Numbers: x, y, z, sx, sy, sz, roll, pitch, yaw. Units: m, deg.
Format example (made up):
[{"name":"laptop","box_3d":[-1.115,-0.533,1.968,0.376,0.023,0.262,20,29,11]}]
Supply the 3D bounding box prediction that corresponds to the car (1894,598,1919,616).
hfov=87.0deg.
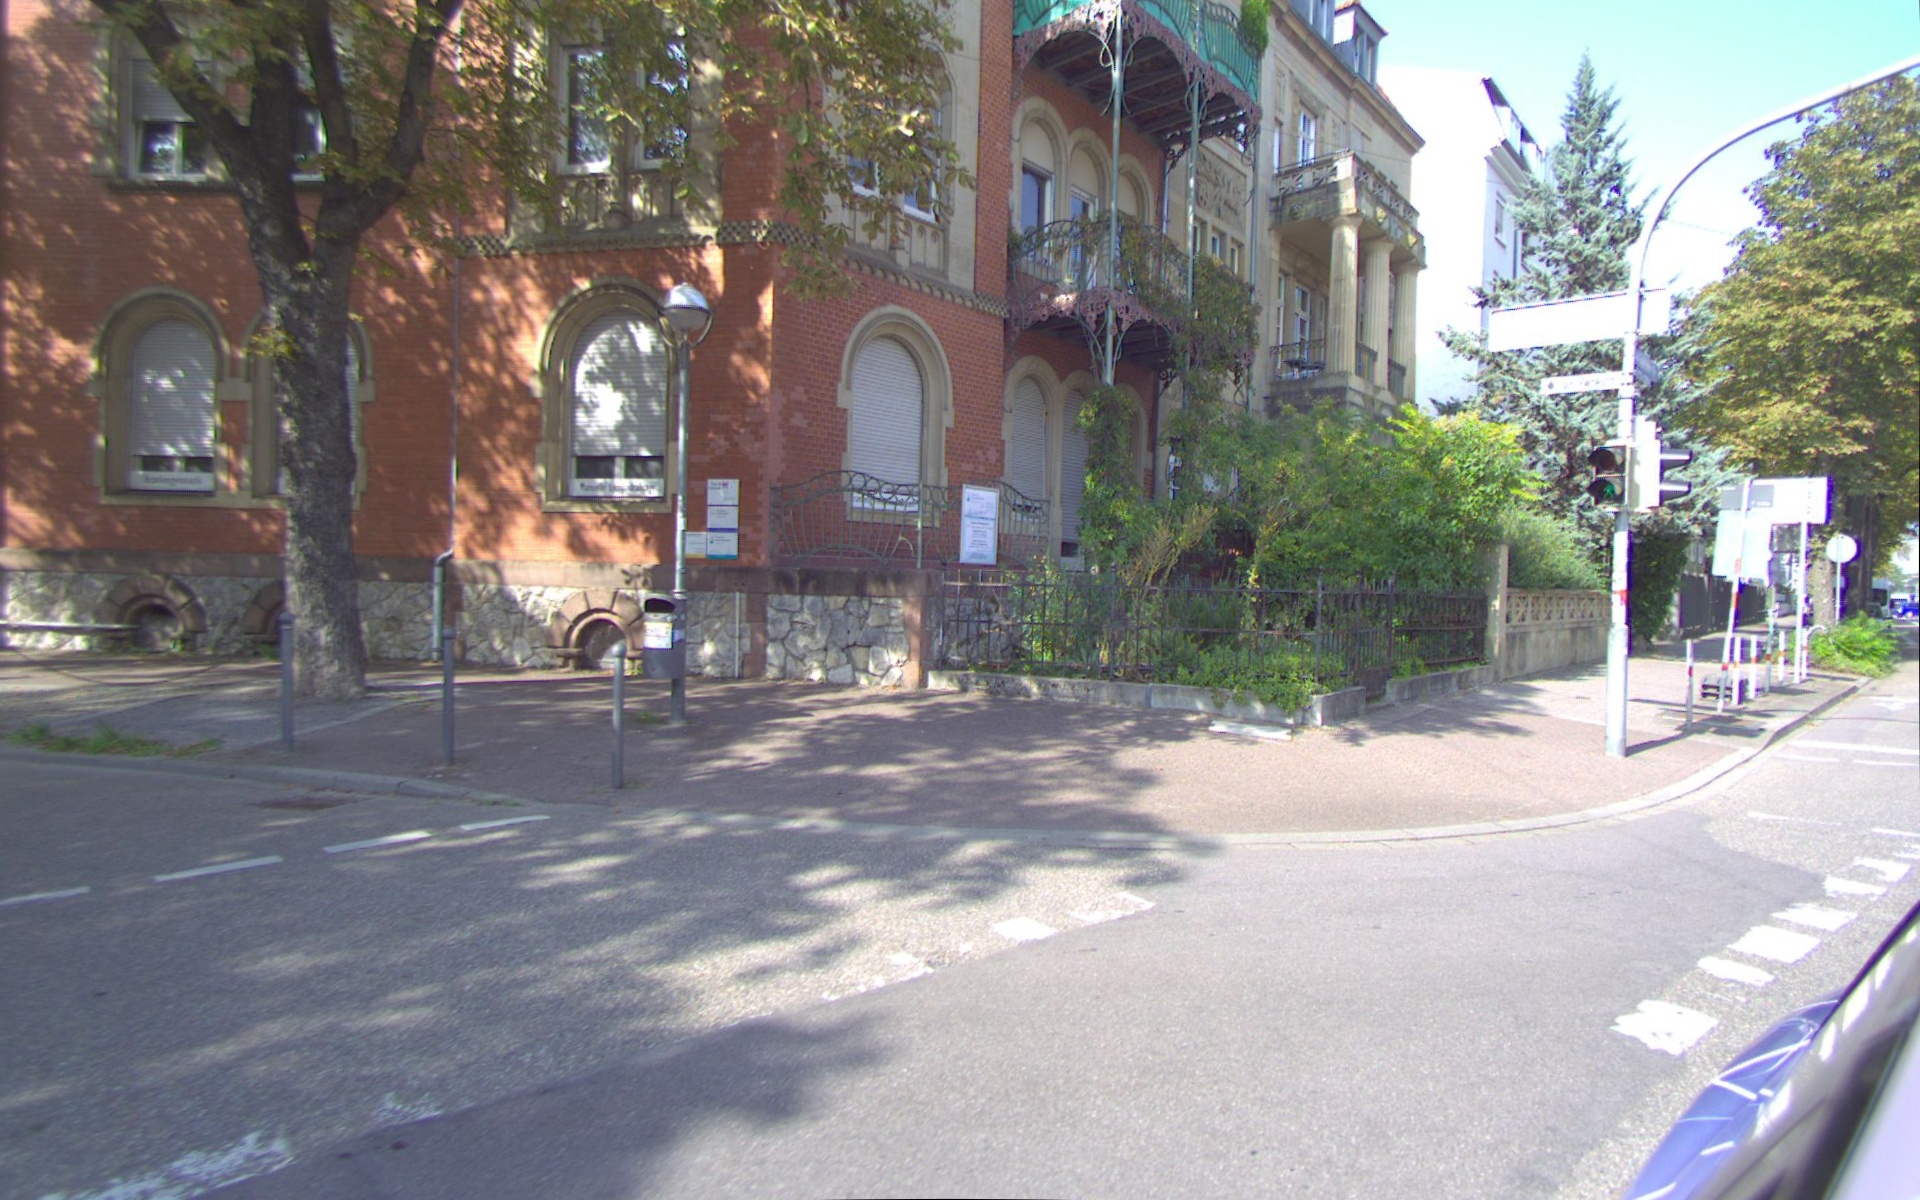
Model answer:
[{"name":"car","box_3d":[93.507,0.689,98.065,3.954,1.670,1.985,2,1,22]}]
